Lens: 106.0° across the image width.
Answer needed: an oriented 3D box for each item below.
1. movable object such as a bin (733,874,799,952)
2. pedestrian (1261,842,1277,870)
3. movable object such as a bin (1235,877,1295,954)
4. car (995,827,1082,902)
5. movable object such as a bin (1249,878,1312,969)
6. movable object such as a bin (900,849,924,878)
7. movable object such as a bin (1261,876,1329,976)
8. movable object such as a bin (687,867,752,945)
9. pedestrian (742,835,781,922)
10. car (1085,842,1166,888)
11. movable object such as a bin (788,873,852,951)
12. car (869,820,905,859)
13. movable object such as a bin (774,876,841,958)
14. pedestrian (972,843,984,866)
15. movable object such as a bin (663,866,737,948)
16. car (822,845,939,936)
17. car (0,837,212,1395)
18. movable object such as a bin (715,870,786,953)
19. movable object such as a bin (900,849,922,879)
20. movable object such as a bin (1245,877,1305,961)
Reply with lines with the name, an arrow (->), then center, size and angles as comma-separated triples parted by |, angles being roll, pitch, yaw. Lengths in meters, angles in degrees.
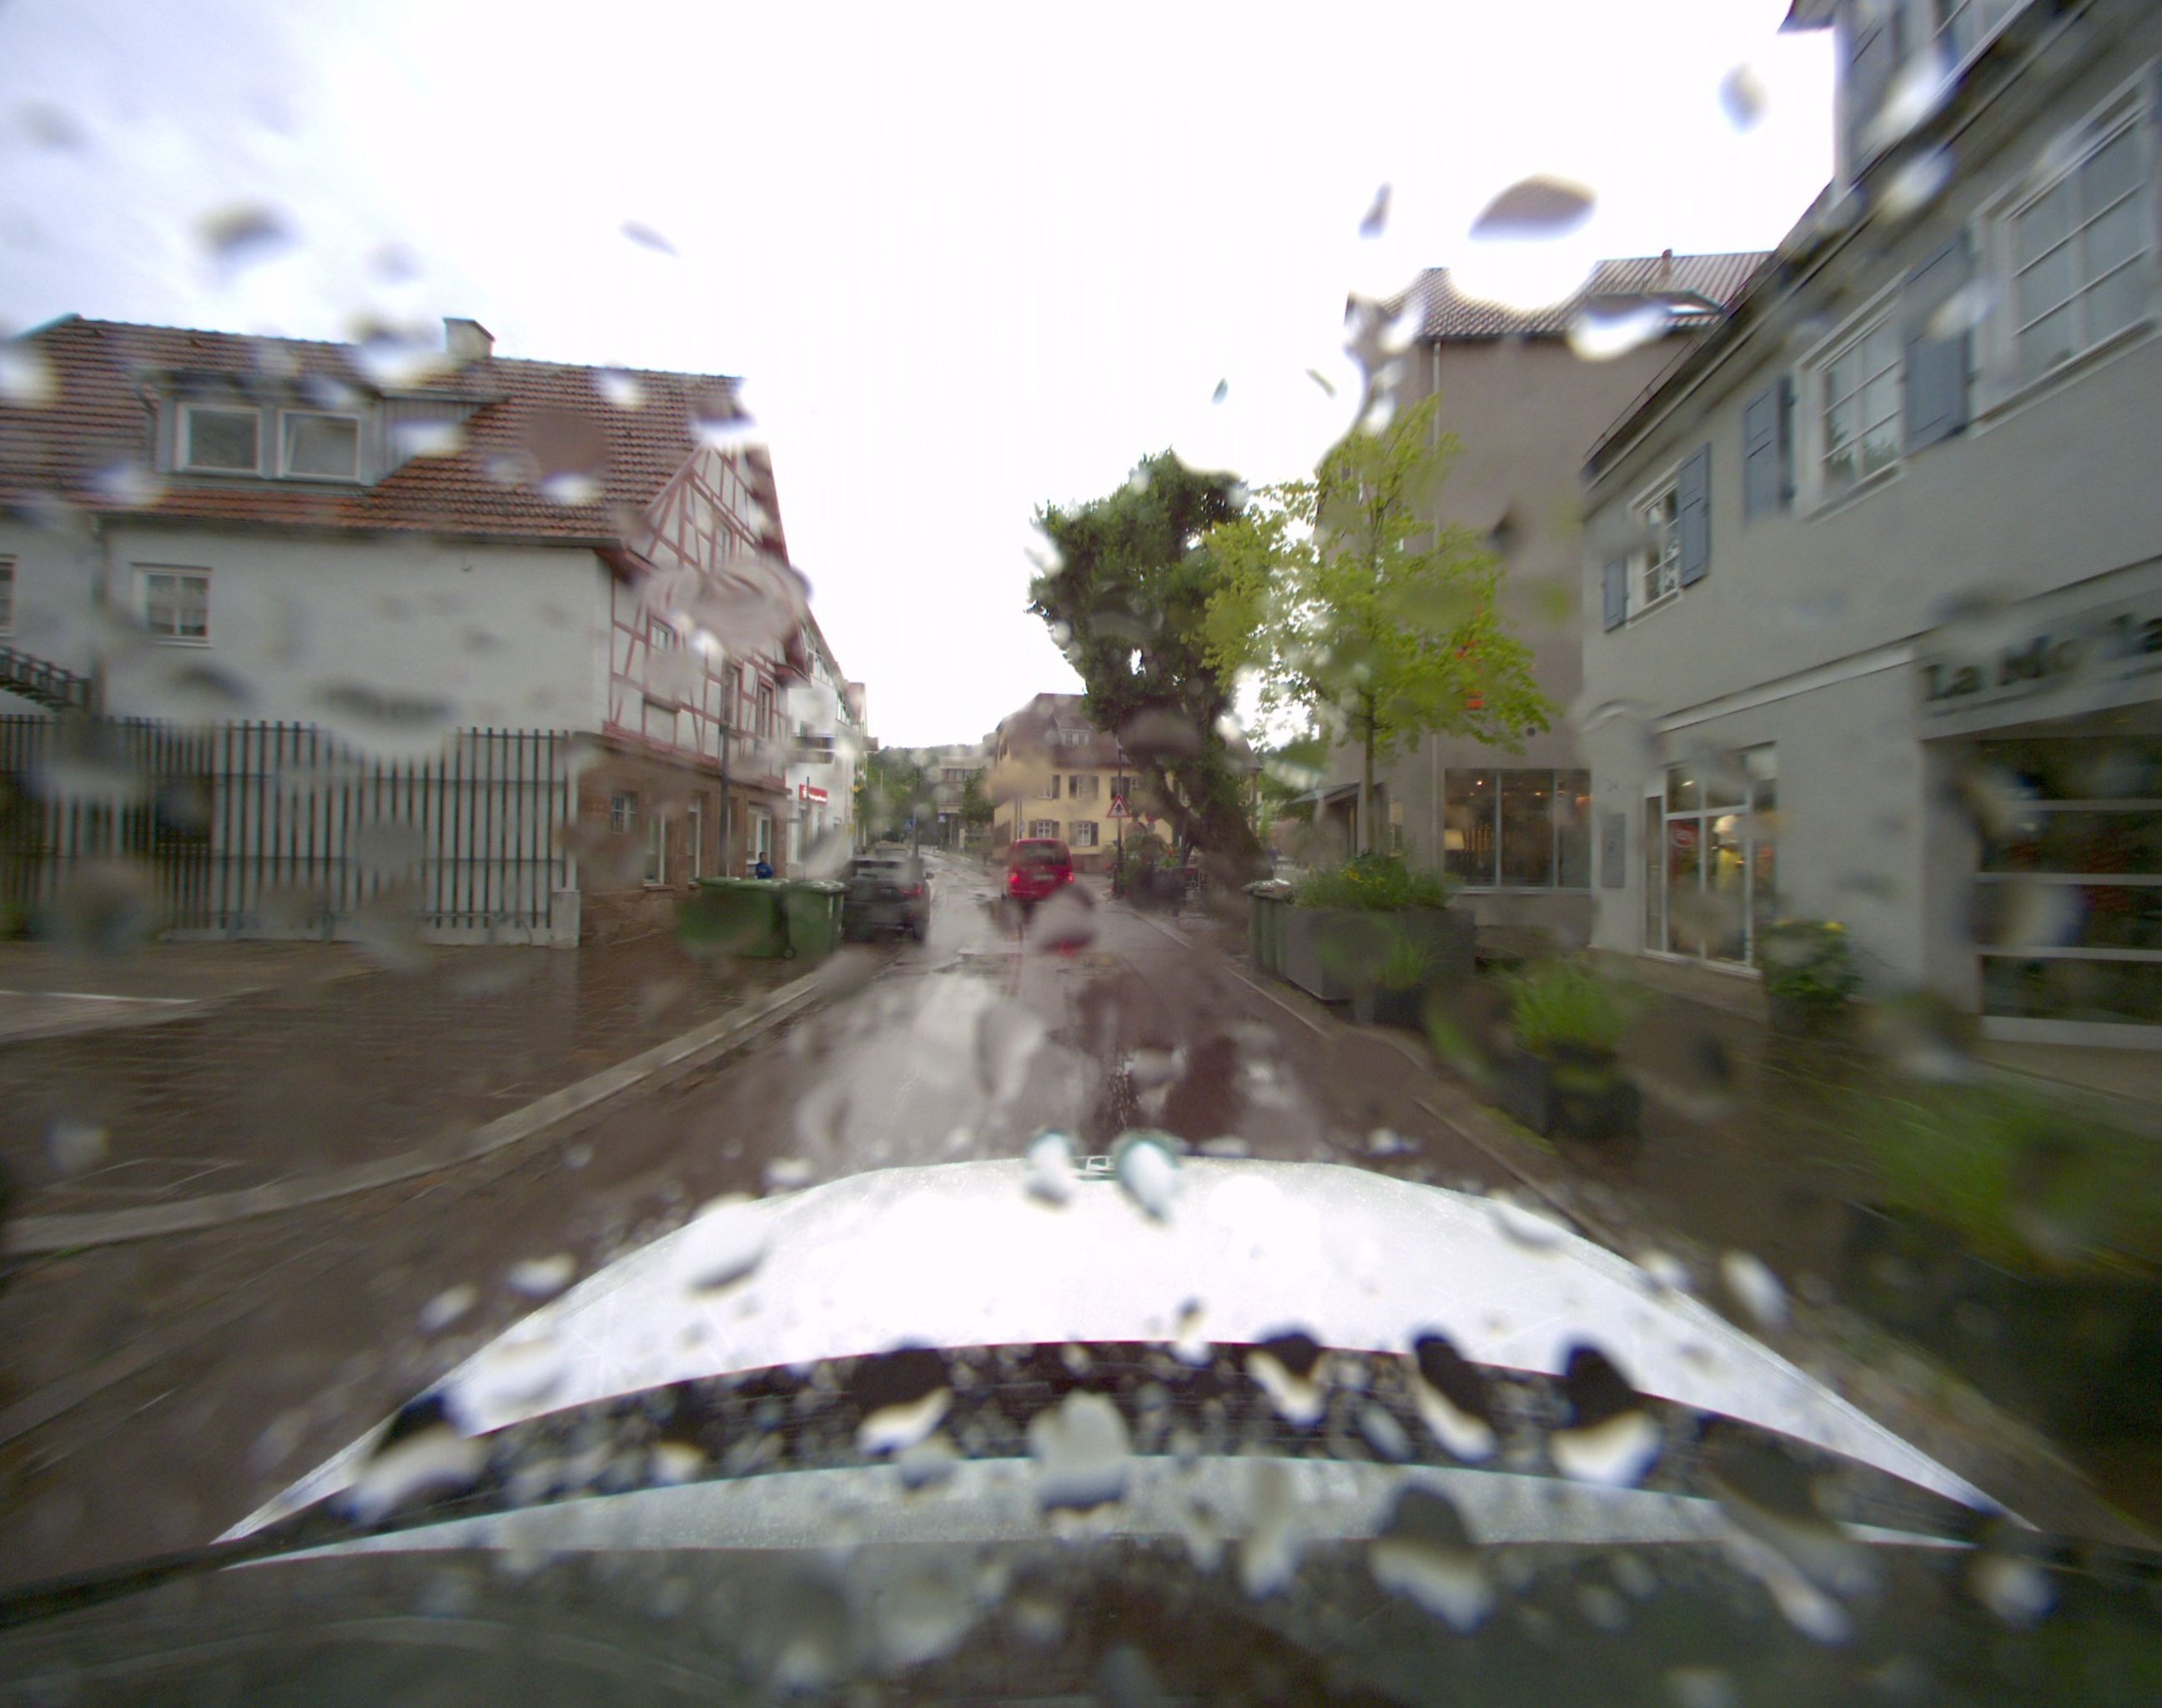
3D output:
movable object such as a bin -> -4.623, 0.853, 11.997 | 0.724, 1.110, 0.596 | 1, -2, -3
pedestrian -> 12.728, 0.150, 55.189 | 0.895, 1.842, 0.767 | 1, -2, 3
movable object such as a bin -> 2.651, 0.875, 11.802 | 0.719, 1.073, 0.648 | 1, -2, 0
car -> -1.254, 0.220, 22.226 | 1.894, 1.811, 3.987 | 2, 1, -10
movable object such as a bin -> 2.523, 0.868, 10.341 | 0.630, 1.104, 0.579 | 1, -2, -3
movable object such as a bin -> -6.579, 0.385, 31.688 | 0.793, 1.106, 0.720 | 1, -2, -6
movable object such as a bin -> 2.553, 0.844, 9.750 | 0.630, 1.150, 0.579 | 1, -2, -3
movable object such as a bin -> -5.351, 0.764, 12.076 | 0.658, 1.110, 0.615 | 1, -2, -3
pedestrian -> -6.410, 0.493, 16.352 | 0.517, 1.711, 0.578 | 1, -2, -3
car -> 1.942, 0.490, 34.351 | 1.975, 1.799, 4.022 | 1, -2, 25
movable object such as a bin -> -3.871, 0.854, 12.108 | 0.724, 1.110, 0.644 | 1, -2, -3
car -> -14.470, -1.003, 60.407 | 2.303, 2.602, 6.922 | 2, -1, -15
movable object such as a bin -> -3.835, 0.869, 11.460 | 0.724, 1.110, 0.596 | 1, -2, -3
pedestrian -> -8.255, 0.058, 65.241 | 0.760, 1.842, 0.903 | 1, -2, 7
movable object such as a bin -> -5.331, 0.730, 11.427 | 0.724, 1.110, 0.596 | 1, -2, -3
car -> -3.718, 0.596, 15.729 | 1.787, 1.495, 3.988 | 2, 0, -9
car -> -3.678, 0.705, 0.670 | 1.752, 1.473, 3.940 | 1, 1, -3
movable object such as a bin -> -4.593, 0.794, 11.362 | 0.724, 1.110, 0.596 | 1, -2, -3
movable object such as a bin -> -6.475, 0.371, 30.996 | 0.713, 1.106, 0.598 | 1, -2, -6
movable object such as a bin -> 2.653, 0.871, 11.175 | 0.675, 1.103, 0.579 | 1, -2, 0
